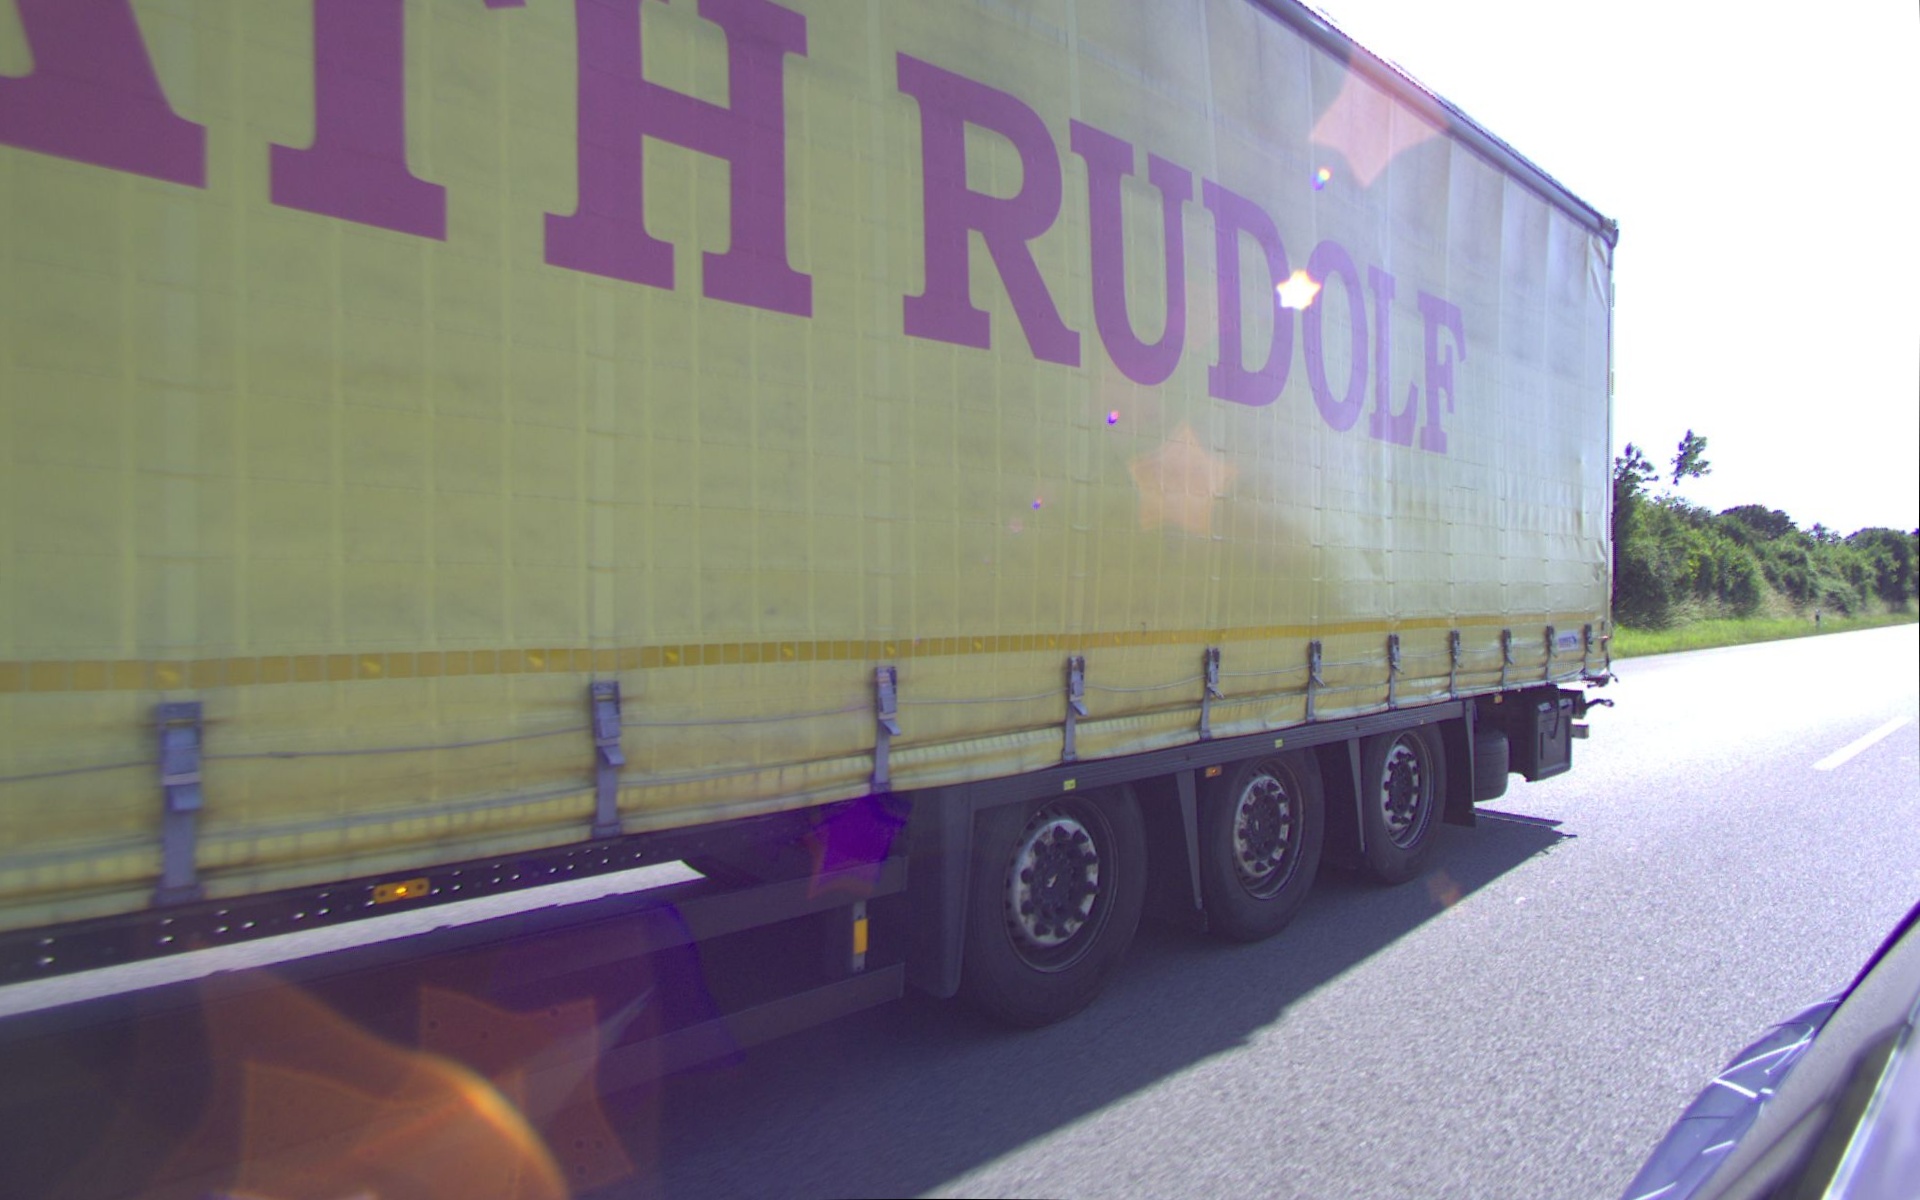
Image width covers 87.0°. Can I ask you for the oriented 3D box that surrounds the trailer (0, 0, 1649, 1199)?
[{"bbox_3d":[-1.077,-0.826,4.048,12.957,4.110,3.190,-1,0,-41],"label":"trailer"}]
